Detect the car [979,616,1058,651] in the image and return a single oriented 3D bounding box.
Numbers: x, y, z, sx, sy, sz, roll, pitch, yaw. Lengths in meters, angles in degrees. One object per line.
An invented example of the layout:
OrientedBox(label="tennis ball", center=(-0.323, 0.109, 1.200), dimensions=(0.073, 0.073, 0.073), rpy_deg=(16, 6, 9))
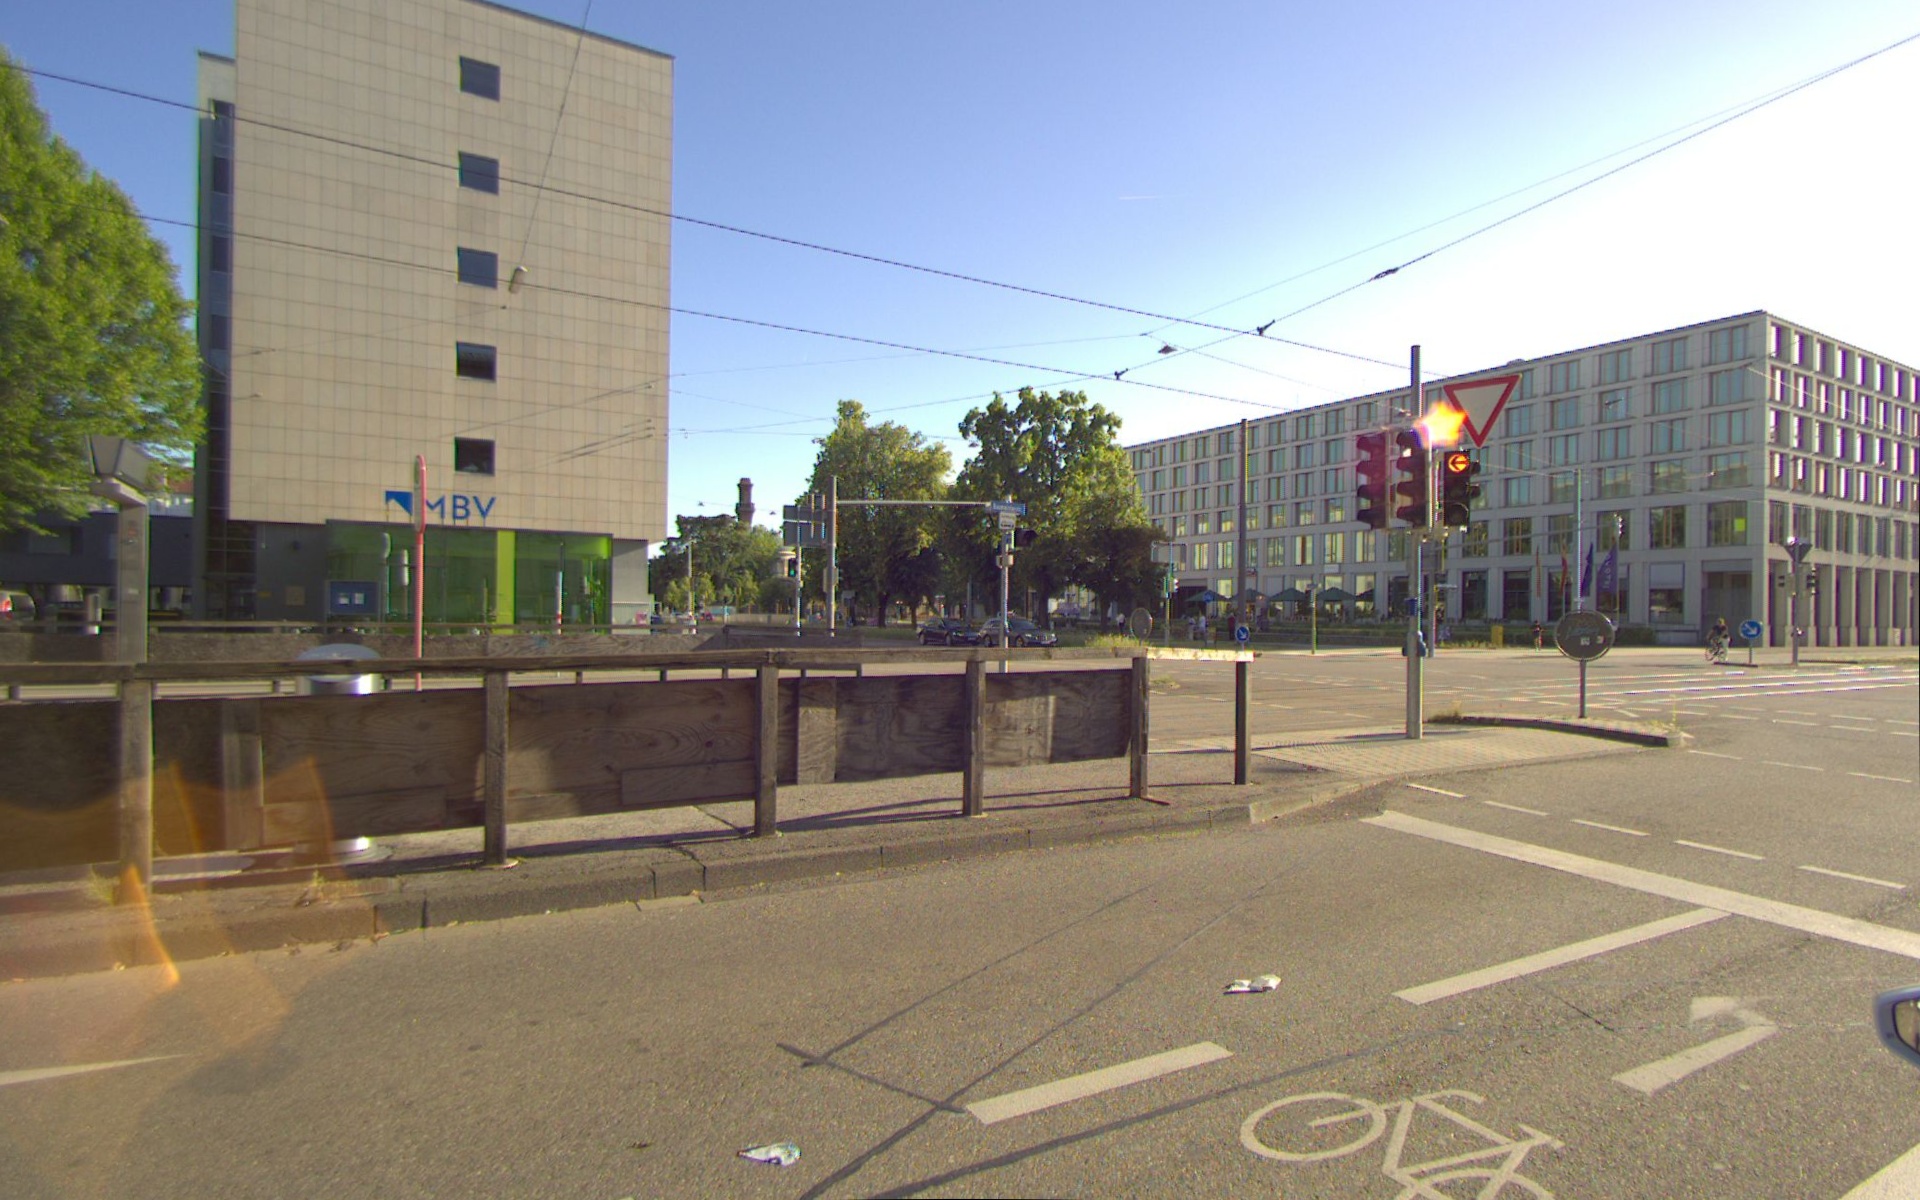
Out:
OrientedBox(label="car", center=(2.732, 1.566, 47.612), dimensions=(1.708, 1.595, 4.140), rpy_deg=(1, -1, -31))

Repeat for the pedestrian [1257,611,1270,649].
OrientedBox(label="pedestrian", center=(18.565, 1.851, 61.376), dimensions=(0.528, 2.310, 0.565), rpy_deg=(1, -1, -36))

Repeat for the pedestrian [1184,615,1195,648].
OrientedBox(label="pedestrian", center=(14.450, 1.970, 63.310), dimensions=(0.483, 2.040, 0.493), rpy_deg=(1, -1, -17))

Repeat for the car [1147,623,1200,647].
OrientedBox(label="car", center=(13.443, 2.205, 63.320), dimensions=(1.456, 1.457, 3.165), rpy_deg=(1, -1, -34))

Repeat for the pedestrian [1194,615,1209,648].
OrientedBox(label="pedestrian", center=(15.341, 2.000, 63.906), dimensions=(0.793, 2.040, 0.526), rpy_deg=(1, -1, -36))

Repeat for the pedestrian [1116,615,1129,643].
OrientedBox(label="pedestrian", center=(11.368, 2.024, 70.229), dimensions=(0.672, 1.928, 0.560), rpy_deg=(1, -1, -21))

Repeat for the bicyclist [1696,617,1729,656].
OrientedBox(label="bicyclist", center=(31.949, 1.541, 42.635), dimensions=(0.812, 1.663, 0.872), rpy_deg=(1, -1, -29))

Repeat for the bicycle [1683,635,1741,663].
OrientedBox(label="bicycle", center=(31.900, 2.059, 42.593), dimensions=(2.976, 1.136, 0.871), rpy_deg=(1, -1, -29))

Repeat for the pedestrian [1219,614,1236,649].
OrientedBox(label="pedestrian", center=(16.406, 1.907, 61.594), dimensions=(0.644, 2.095, 0.645), rpy_deg=(4, -3, -36))

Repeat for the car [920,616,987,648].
OrientedBox(label="car", center=(-0.375, 1.638, 53.165), dimensions=(1.801, 1.595, 3.967), rpy_deg=(0, 0, -31))
